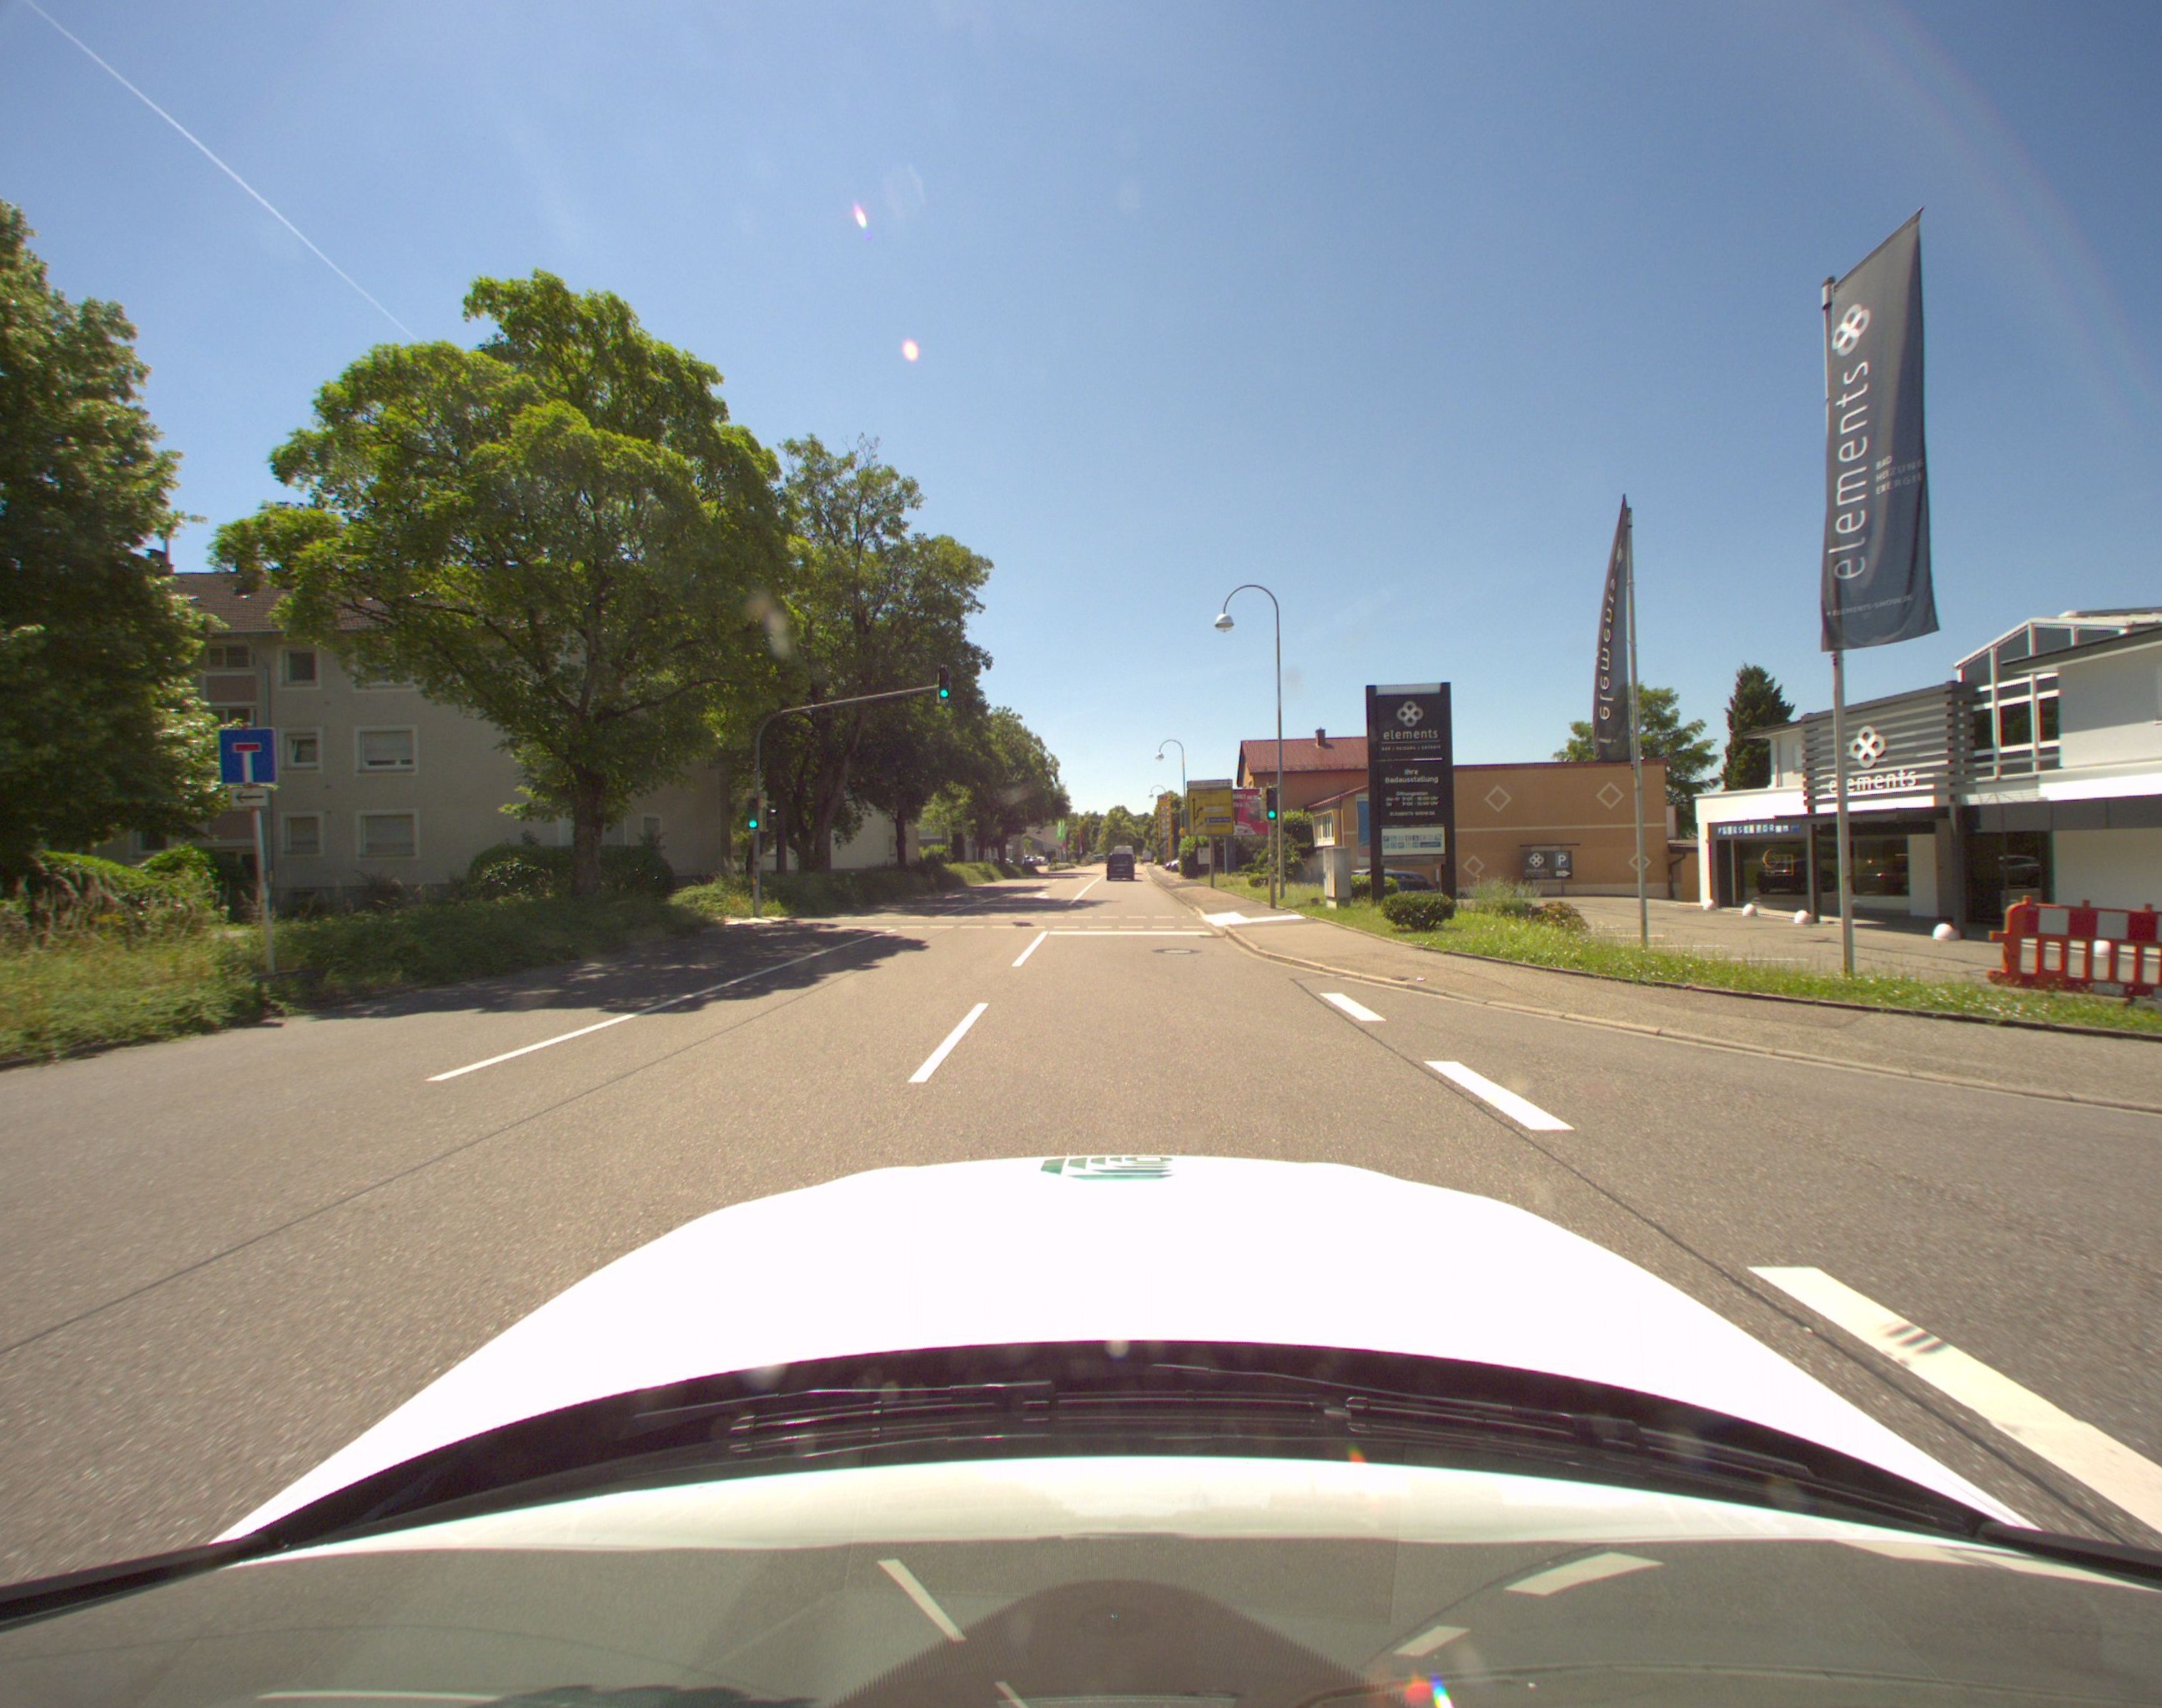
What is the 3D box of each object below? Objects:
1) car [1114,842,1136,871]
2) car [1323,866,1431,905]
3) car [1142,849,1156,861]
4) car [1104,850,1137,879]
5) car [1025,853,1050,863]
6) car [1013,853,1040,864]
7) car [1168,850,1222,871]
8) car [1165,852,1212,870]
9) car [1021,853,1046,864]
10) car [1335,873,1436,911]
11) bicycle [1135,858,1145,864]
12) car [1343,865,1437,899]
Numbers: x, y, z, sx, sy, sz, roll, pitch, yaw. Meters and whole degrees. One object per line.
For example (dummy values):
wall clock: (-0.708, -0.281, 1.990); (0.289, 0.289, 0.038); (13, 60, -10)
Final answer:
car: (4.227, 0.237, 78.217); (2.111, 2.677, 5.666); (0, 1, 3)
car: (13.307, 1.388, 36.826); (4.252, 1.646, 1.892); (0, 1, 4)
car: (14.851, 0.203, 176.775); (2.337, 2.546, 4.973); (0, 1, 12)
car: (2.648, 0.692, 55.147); (1.987, 1.893, 3.999); (0, 1, -1)
car: (-7.650, 0.680, 143.215); (3.960, 1.662, 2.007); (0, 1, 12)
car: (-9.012, 0.717, 135.578); (4.008, 1.706, 1.912); (0, 1, 20)
car: (10.411, 0.572, 74.622); (4.544, 1.717, 1.999); (-3, 1, -2)
car: (10.137, 0.678, 76.803); (4.145, 1.456, 1.906); (-3, 1, -2)
car: (-8.162, 0.837, 139.856); (3.958, 1.832, 1.954); (0, 1, 14)
car: (12.395, 1.521, 33.296); (3.601, 1.417, 1.702); (0, 1, 8)
bicycle: (9.999, 1.207, 137.850); (1.724, 0.887, 0.553); (-2, 3, -26)
car: (15.954, 1.444, 42.243); (4.233, 1.599, 1.895); (-1, 0, 9)
